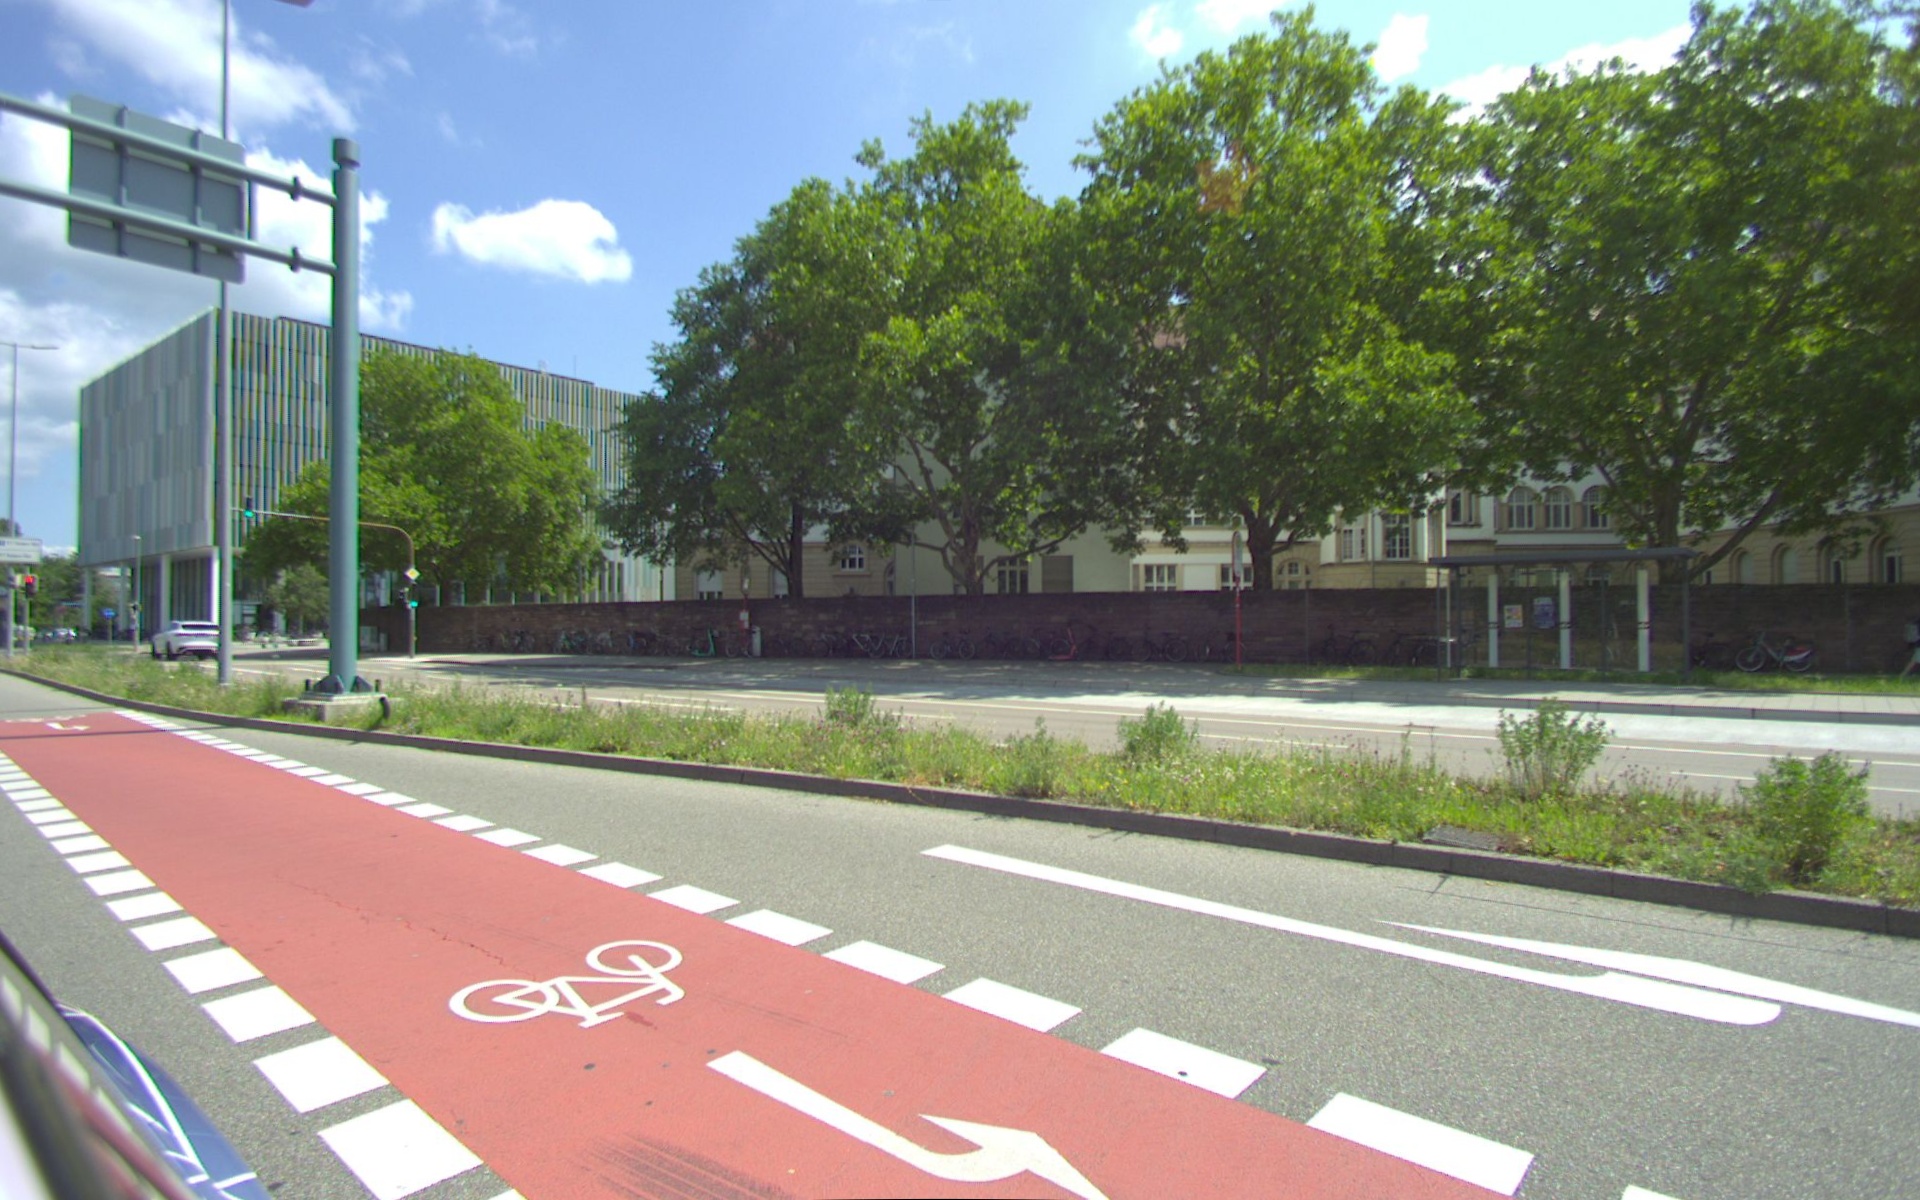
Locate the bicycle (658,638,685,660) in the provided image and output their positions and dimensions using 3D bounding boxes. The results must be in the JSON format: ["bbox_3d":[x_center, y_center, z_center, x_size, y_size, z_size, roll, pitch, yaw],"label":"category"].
[{"bbox_3d":[-11.572,1.965,40.587,1.231,0.837,0.262,-2,-2,30],"label":"bicycle"}]

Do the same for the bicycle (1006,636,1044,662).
[{"bbox_3d":[2.128,1.607,33.075,1.230,0.837,0.262,-1,-2,28],"label":"bicycle"}]

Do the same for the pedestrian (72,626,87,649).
[{"bbox_3d":[-76.796,3.269,88.263,0.994,2.029,0.853,-2,-2,39],"label":"pedestrian"}]

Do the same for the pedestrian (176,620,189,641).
[{"bbox_3d":[-77.325,3.048,100.634,0.994,2.029,0.853,-2,-2,40],"label":"pedestrian"}]

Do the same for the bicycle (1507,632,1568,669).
[{"bbox_3d":[15.626,1.365,27.394,1.384,0.972,0.263,-1,-2,18],"label":"bicycle"}]

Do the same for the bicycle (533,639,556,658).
[{"bbox_3d":[-18.599,2.161,45.316,1.230,0.837,0.262,-1,-2,29],"label":"bicycle"}]

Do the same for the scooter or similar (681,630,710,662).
[{"bbox_3d":[-10.192,1.759,38.969,1.230,1.199,0.262,-1,-2,29],"label":"scooter or similar"}]

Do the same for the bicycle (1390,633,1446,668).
[{"bbox_3d":[12.860,1.427,28.424,1.384,0.972,0.263,-1,-2,18],"label":"bicycle"}]

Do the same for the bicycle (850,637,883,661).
[{"bbox_3d":[-3.329,1.751,35.912,1.231,0.837,0.262,-1,-2,30],"label":"bicycle"}]

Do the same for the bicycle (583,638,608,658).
[{"bbox_3d":[-15.335,2.002,42.562,1.230,0.837,0.262,-1,-2,29],"label":"bicycle"}]

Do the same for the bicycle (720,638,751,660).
[{"bbox_3d":[-8.650,1.884,38.956,1.226,0.837,0.263,-1,-2,19],"label":"bicycle"}]

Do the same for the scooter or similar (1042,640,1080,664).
[{"bbox_3d":[3.174,1.626,31.814,1.133,0.734,0.264,-1,-2,18],"label":"scooter or similar"}]

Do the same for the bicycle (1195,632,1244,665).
[{"bbox_3d":[7.802,1.466,30.422,1.389,0.972,0.262,-1,-2,28],"label":"bicycle"}]

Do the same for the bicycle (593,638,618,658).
[{"bbox_3d":[-15.032,2.015,42.912,1.231,0.837,0.262,-2,-2,30],"label":"bicycle"}]

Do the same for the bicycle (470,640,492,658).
[{"bbox_3d":[-22.695,2.302,47.964,1.231,0.837,0.262,-2,-2,30],"label":"bicycle"}]

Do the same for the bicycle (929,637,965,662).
[{"bbox_3d":[-0.436,1.670,34.284,1.230,0.837,0.262,-1,-2,28],"label":"bicycle"}]

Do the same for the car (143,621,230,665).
[{"bbox_3d":[-32.491,1.786,42.468,4.508,1.724,1.973,-2,-2,40],"label":"car"}]

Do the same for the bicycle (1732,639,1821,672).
[{"bbox_3d":[20.740,1.402,25.727,1.734,0.823,0.327,-1,-2,18],"label":"bicycle"}]

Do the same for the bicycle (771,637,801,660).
[{"bbox_3d":[-6.474,1.807,37.572,1.231,0.837,0.262,-1,-2,30],"label":"bicycle"}]

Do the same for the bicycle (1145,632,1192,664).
[{"bbox_3d":[6.396,1.473,31.042,1.385,0.972,0.263,-1,-2,20],"label":"bicycle"}]

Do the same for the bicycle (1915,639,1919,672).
[{"bbox_3d":[24.436,1.353,24.608,1.734,0.823,0.382,-1,-2,18],"label":"bicycle"}]

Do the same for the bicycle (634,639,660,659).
[{"bbox_3d":[-12.853,2.008,41.542,1.231,0.837,0.262,-2,-2,30],"label":"bicycle"}]

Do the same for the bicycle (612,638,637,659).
[{"bbox_3d":[-13.973,2.024,42.167,1.231,0.837,0.262,-2,-2,30],"label":"bicycle"}]

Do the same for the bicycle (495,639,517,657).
[{"bbox_3d":[-21.056,2.227,46.973,1.231,0.837,0.262,-2,-2,30],"label":"bicycle"}]

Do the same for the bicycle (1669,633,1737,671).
[{"bbox_3d":[19.228,1.342,26.200,1.384,0.972,0.263,-1,-2,18],"label":"bicycle"}]

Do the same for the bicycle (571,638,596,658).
[{"bbox_3d":[-16.271,2.080,43.732,1.231,0.837,0.262,-2,-2,30],"label":"bicycle"}]

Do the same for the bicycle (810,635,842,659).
[{"bbox_3d":[-4.886,1.715,36.878,1.231,0.837,0.262,-1,-2,30],"label":"bicycle"}]

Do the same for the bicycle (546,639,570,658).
[{"bbox_3d":[-17.485,2.107,43.972,1.230,0.837,0.262,-1,-2,29],"label":"bicycle"}]

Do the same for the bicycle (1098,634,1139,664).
[{"bbox_3d":[4.950,1.520,31.620,1.230,0.915,0.262,-1,-2,28],"label":"bicycle"}]

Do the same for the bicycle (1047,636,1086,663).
[{"bbox_3d":[3.404,1.591,32.463,1.230,0.837,0.262,-1,-2,28],"label":"bicycle"}]

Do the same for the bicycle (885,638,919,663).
[{"bbox_3d":[-2.019,1.748,35.122,1.231,0.837,0.262,-1,-2,30],"label":"bicycle"}]

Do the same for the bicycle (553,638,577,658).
[{"bbox_3d":[-17.410,2.109,44.566,1.230,0.837,0.262,-1,-2,29],"label":"bicycle"}]

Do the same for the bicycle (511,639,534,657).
[{"bbox_3d":[-19.976,2.185,46.204,1.230,0.837,0.262,-1,-2,29],"label":"bicycle"}]

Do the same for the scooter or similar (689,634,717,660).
[{"bbox_3d":[-10.148,1.858,39.925,1.133,1.028,0.264,-1,-2,19],"label":"scooter or similar"}]

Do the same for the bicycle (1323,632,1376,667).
[{"bbox_3d":[11.174,1.423,29.038,1.384,0.972,0.263,-1,-2,18],"label":"bicycle"}]

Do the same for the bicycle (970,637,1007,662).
[{"bbox_3d":[0.956,1.647,33.725,1.230,0.837,0.262,-1,-2,28],"label":"bicycle"}]

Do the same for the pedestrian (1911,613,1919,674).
[{"bbox_3d":[22.381,0.987,23.204,0.726,1.405,0.712,-2,-2,36],"label":"pedestrian"}]
